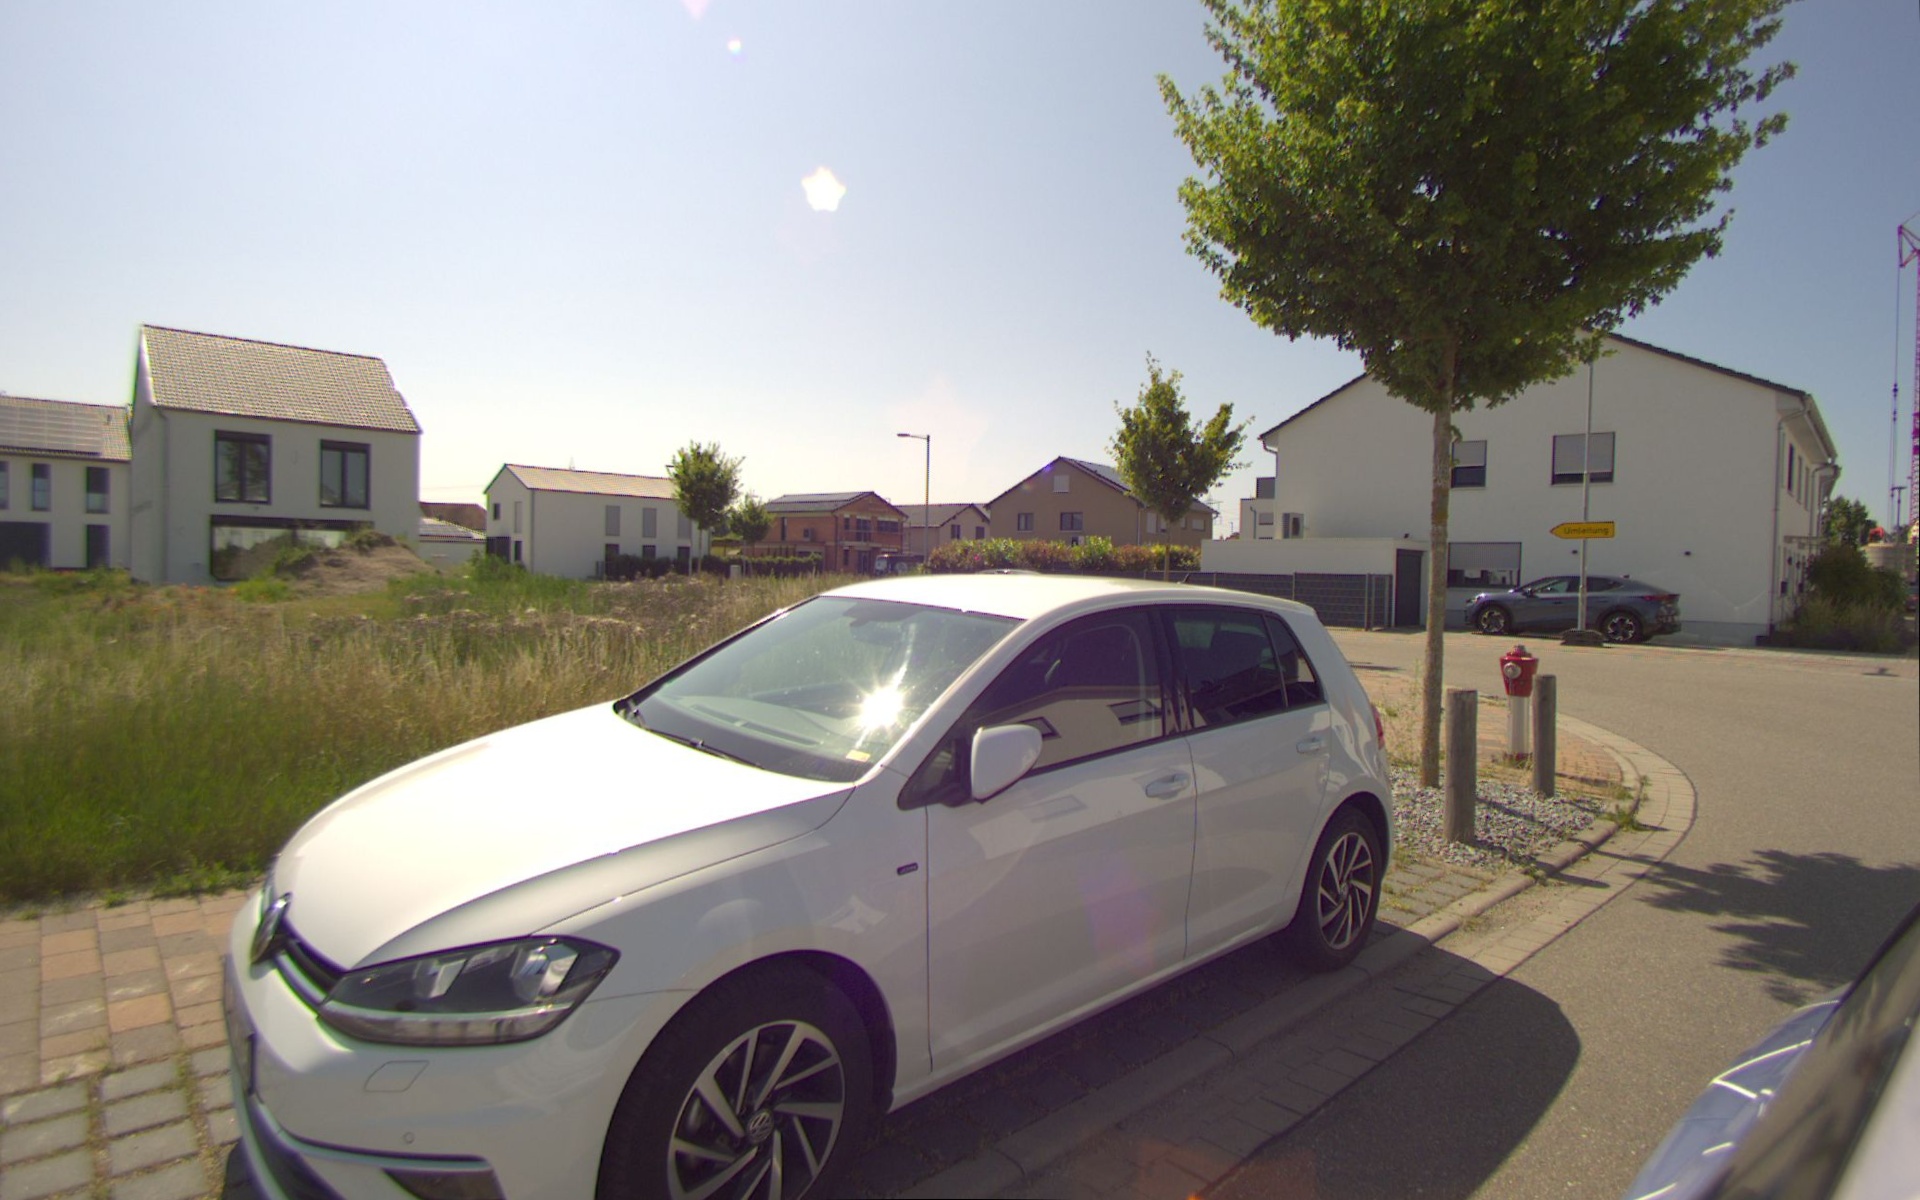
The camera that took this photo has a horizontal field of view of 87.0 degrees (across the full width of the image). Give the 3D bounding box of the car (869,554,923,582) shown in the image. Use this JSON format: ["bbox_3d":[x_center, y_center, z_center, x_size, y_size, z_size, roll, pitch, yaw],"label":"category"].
[{"bbox_3d":[-4.831,-2.397,77.031,1.990,2.038,3.945,3,2,38],"label":"car"}]

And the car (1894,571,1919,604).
[{"bbox_3d":[51.090,-0.677,53.729,1.793,1.637,3.628,2,3,37],"label":"car"}]

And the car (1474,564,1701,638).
[{"bbox_3d":[15.116,-0.027,24.548,1.928,1.577,4.340,0,2,-44],"label":"car"}]

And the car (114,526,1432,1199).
[{"bbox_3d":[-0.183,0.580,3.461,4.094,1.437,1.778,0,4,-43],"label":"car"}]

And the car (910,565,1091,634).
[{"bbox_3d":[0.907,-0.084,24.394,4.177,1.512,1.822,2,3,41],"label":"car"}]
